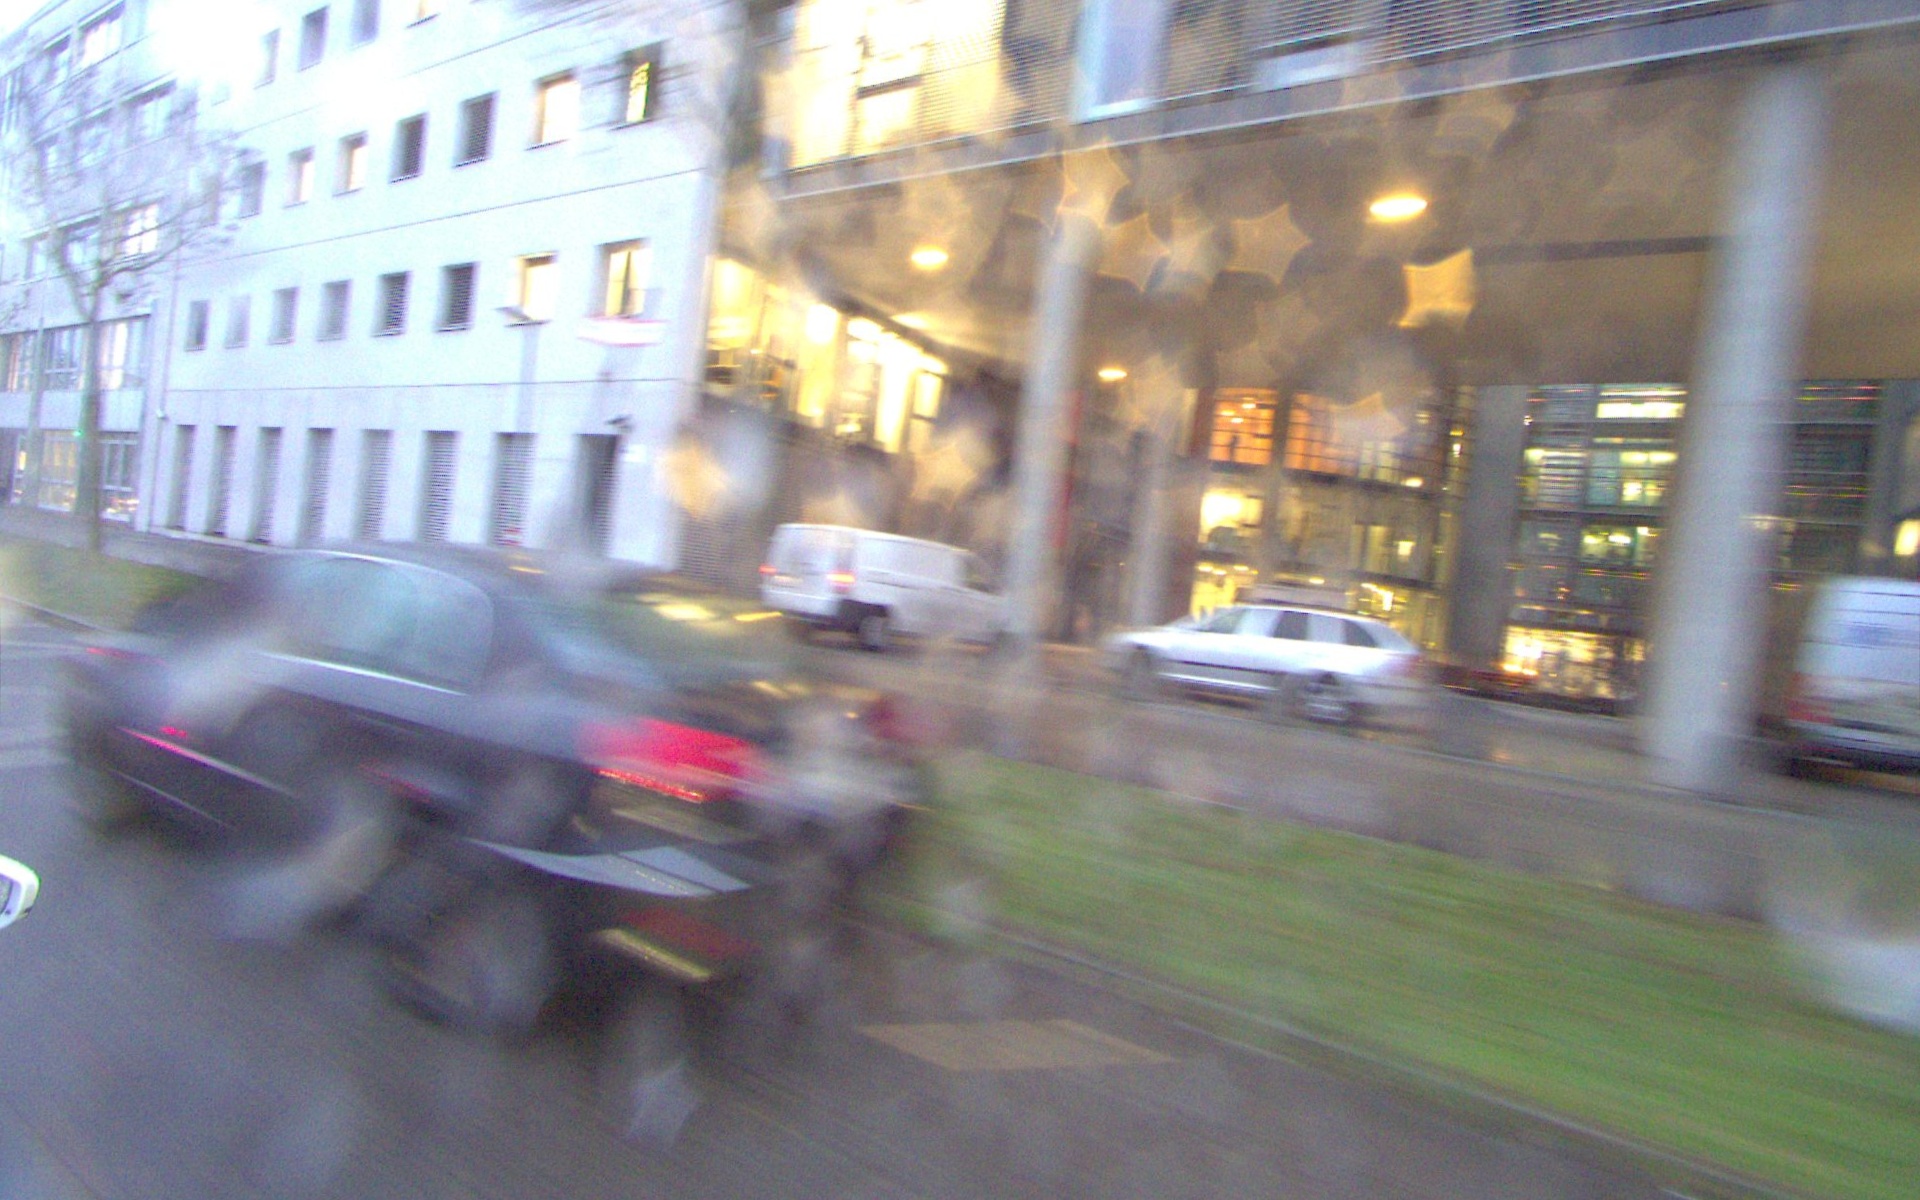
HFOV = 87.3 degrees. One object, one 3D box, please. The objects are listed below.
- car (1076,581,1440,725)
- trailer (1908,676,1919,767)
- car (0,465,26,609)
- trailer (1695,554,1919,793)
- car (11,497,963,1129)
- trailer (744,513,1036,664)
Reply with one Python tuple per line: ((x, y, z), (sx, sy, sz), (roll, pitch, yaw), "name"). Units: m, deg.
((4.041, 0.697, 13.880), (4.454, 1.386, 1.635), (6, -2, 31), "car")
((17.460, 2.013, 16.513), (1.860, 1.974, 3.990), (7, 0, 33), "trailer")
((-11.664, -0.921, 10.638), (4.184, 1.419, 1.755), (7, -1, 36), "car")
((12.389, 1.069, 14.183), (2.172, 2.613, 6.269), (7, 0, 29), "trailer")
((-2.231, 0.492, 4.302), (4.160, 1.457, 1.598), (6, -2, 33), "car")
((-1.036, -0.096, 17.680), (2.098, 1.935, 5.066), (9, 0, 38), "trailer")
